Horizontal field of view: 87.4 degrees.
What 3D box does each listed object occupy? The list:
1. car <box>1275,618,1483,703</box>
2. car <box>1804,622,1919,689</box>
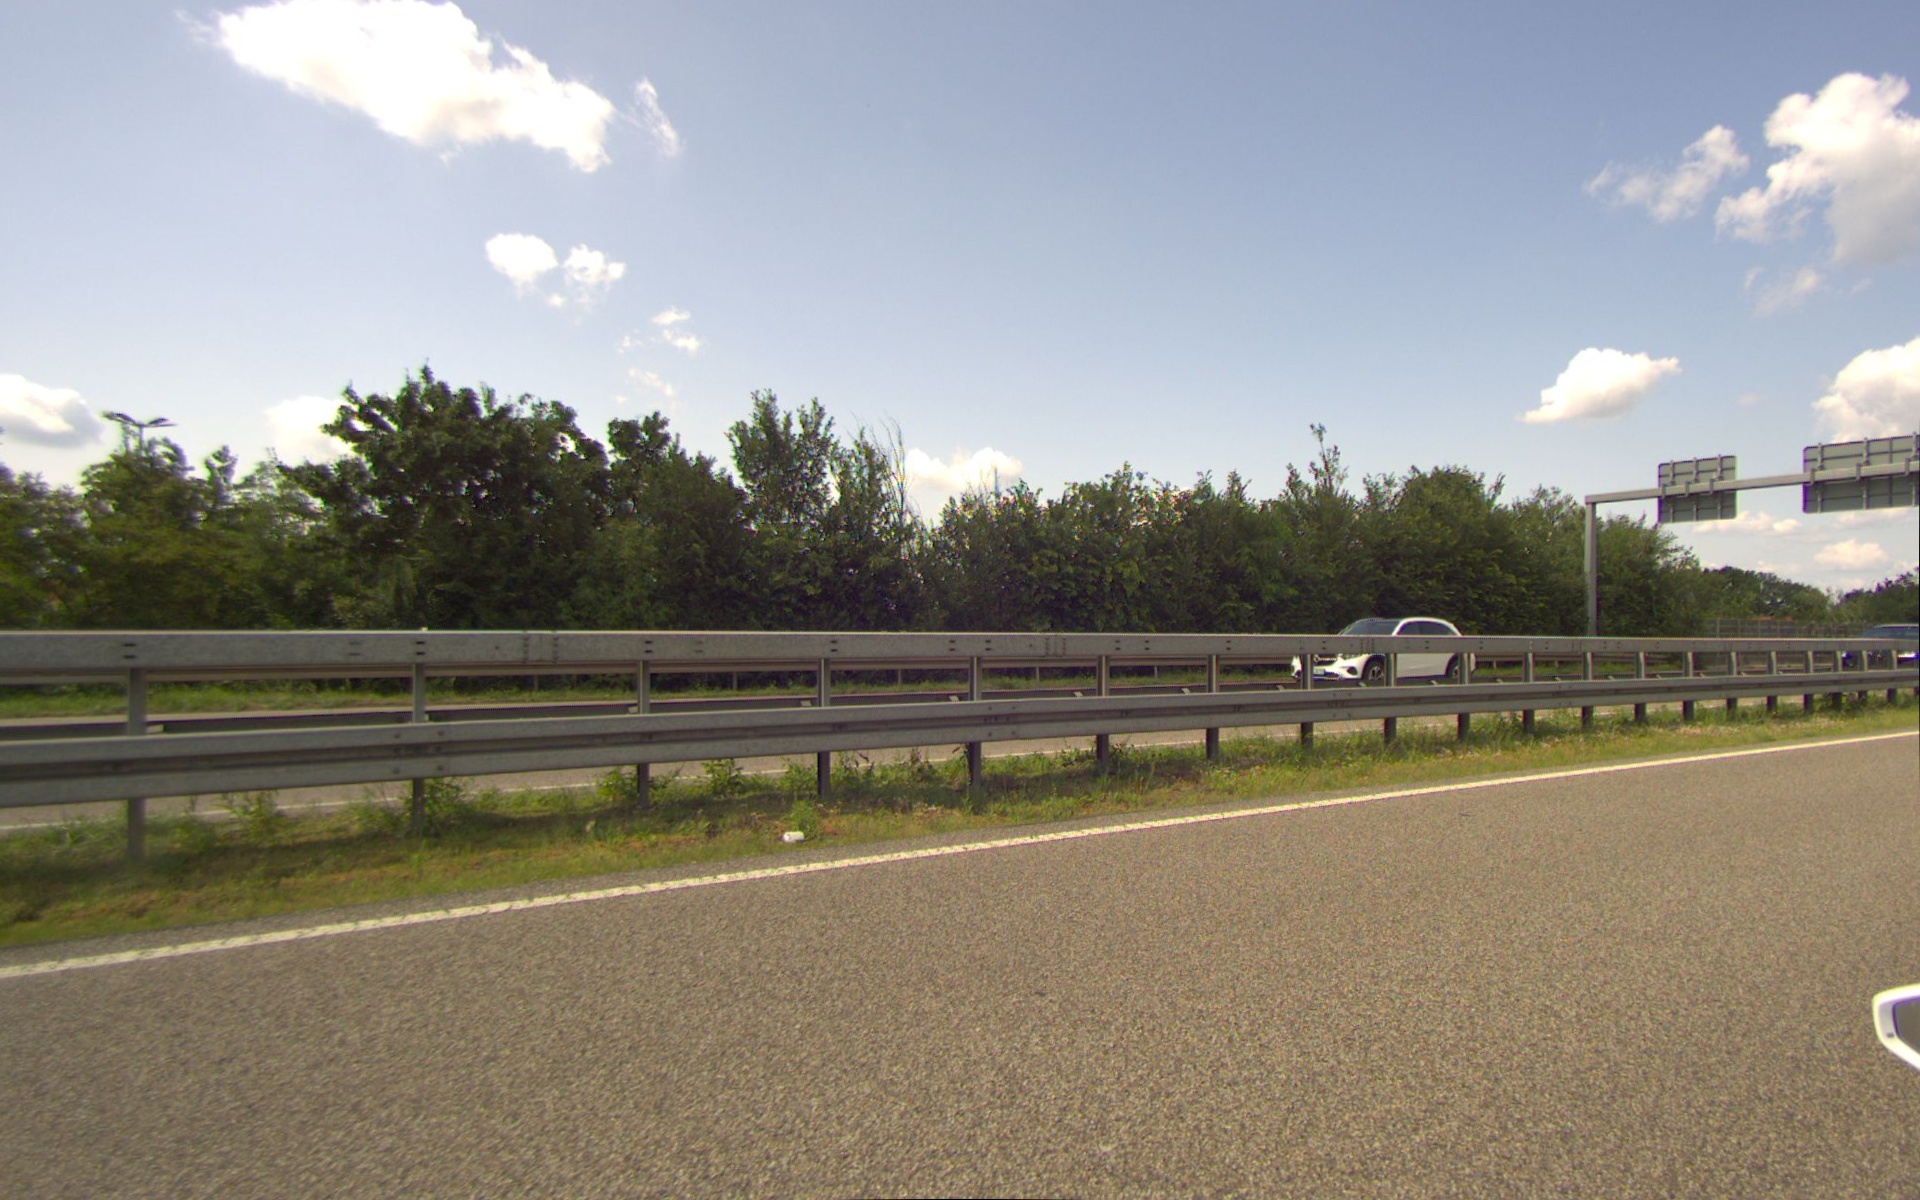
[{"bbox_3d":[9.370,1.310,22.415,4.496,1.668,1.952,2,0,-30],"label":"car"},{"bbox_3d":[24.952,1.467,27.178,4.085,1.618,1.984,2,0,-31],"label":"car"}]
